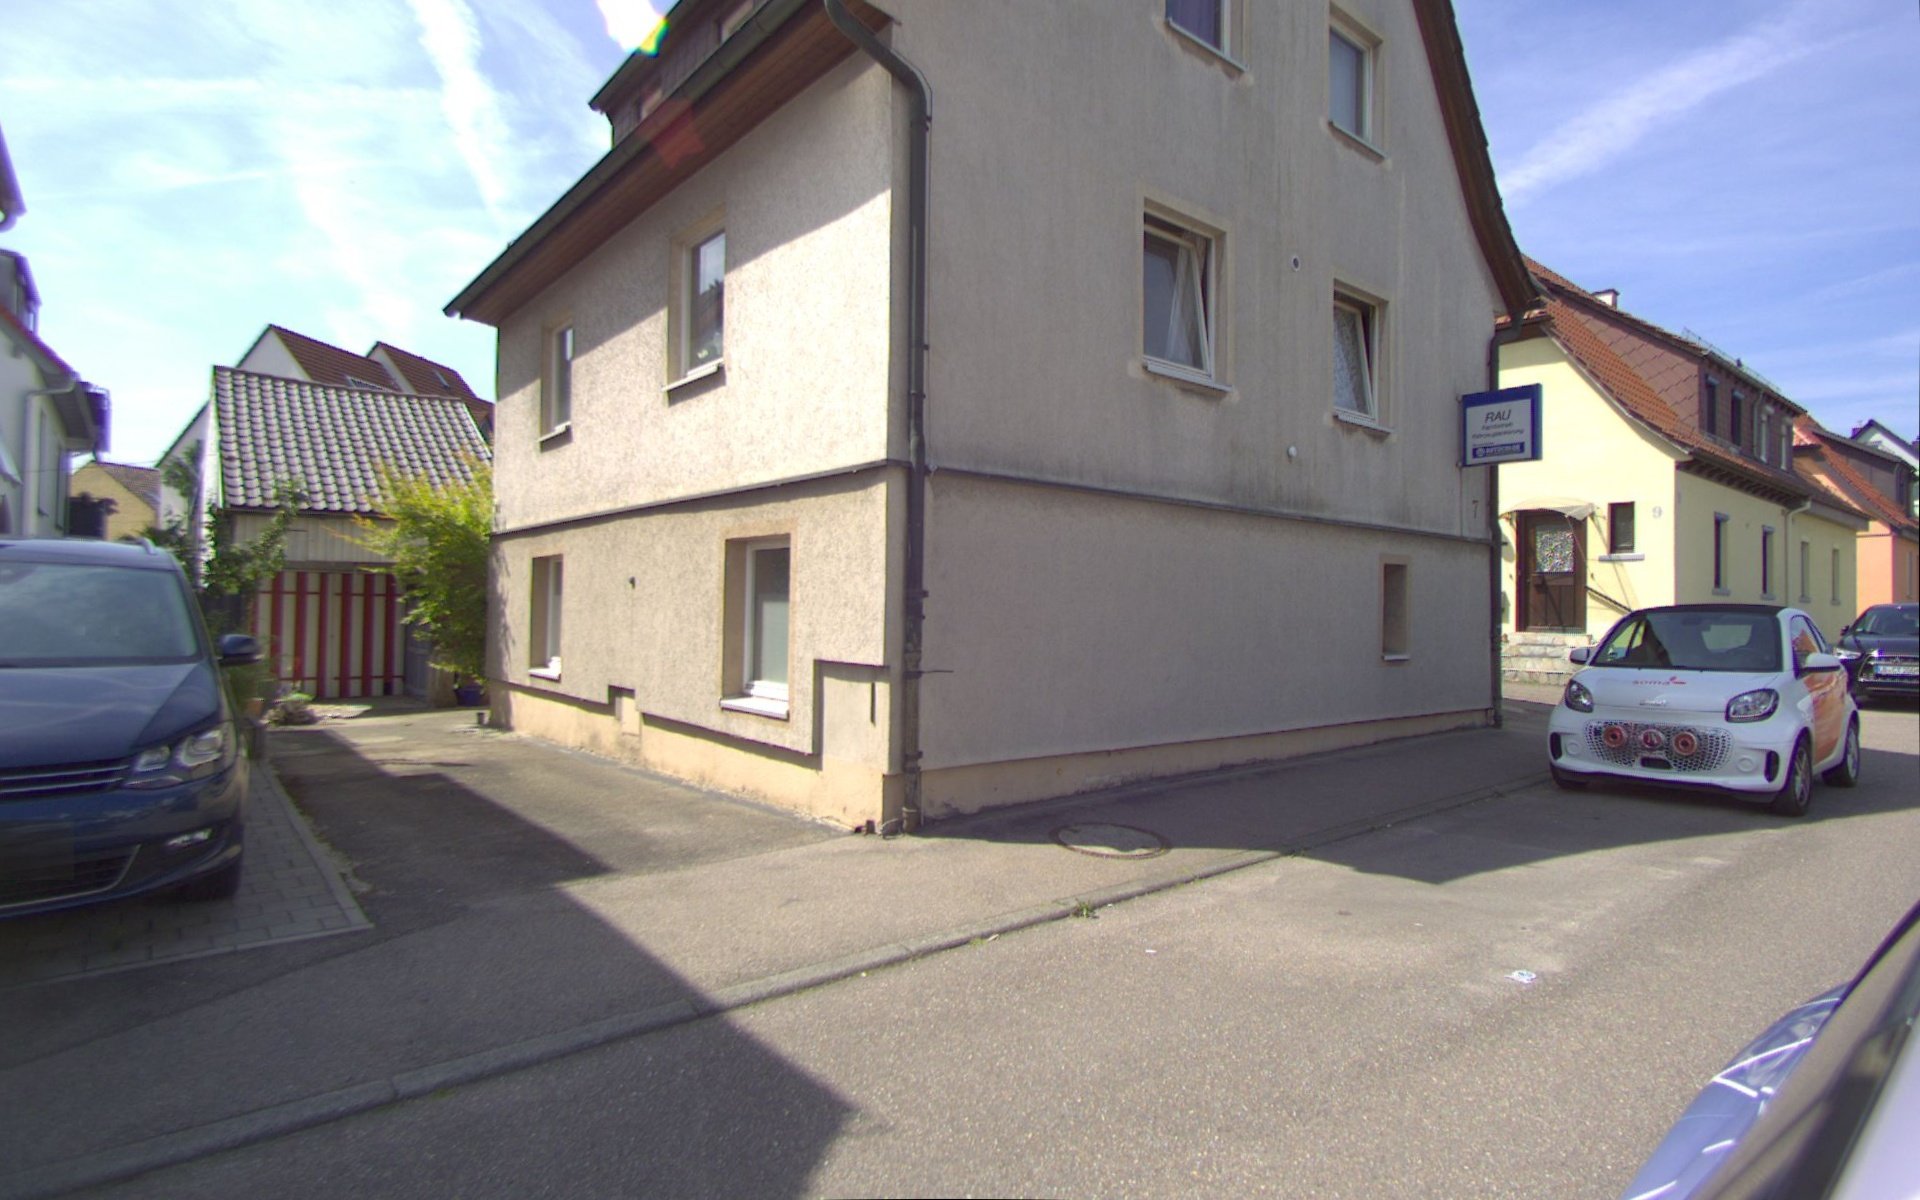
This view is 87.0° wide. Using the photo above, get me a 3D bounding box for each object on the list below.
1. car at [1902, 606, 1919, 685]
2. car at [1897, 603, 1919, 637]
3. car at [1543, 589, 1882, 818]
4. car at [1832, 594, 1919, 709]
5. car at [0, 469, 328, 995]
[{"bbox_3d":[19.397,0.826,19.346,3.688,1.449,1.613,0,-1,-41],"label":"car"},{"bbox_3d":[48.148,0.948,48.561,1.811,1.674,4.310,0,-1,-31],"label":"car"},{"bbox_3d":[6.444,0.721,8.601,2.986,1.579,1.676,0,-1,-40],"label":"car"},{"bbox_3d":[15.137,0.738,15.691,4.176,1.620,1.732,0,-1,-39],"label":"car"},{"bbox_3d":[-4.894,0.484,5.306,1.965,1.866,4.522,1,-1,-41],"label":"car"}]
